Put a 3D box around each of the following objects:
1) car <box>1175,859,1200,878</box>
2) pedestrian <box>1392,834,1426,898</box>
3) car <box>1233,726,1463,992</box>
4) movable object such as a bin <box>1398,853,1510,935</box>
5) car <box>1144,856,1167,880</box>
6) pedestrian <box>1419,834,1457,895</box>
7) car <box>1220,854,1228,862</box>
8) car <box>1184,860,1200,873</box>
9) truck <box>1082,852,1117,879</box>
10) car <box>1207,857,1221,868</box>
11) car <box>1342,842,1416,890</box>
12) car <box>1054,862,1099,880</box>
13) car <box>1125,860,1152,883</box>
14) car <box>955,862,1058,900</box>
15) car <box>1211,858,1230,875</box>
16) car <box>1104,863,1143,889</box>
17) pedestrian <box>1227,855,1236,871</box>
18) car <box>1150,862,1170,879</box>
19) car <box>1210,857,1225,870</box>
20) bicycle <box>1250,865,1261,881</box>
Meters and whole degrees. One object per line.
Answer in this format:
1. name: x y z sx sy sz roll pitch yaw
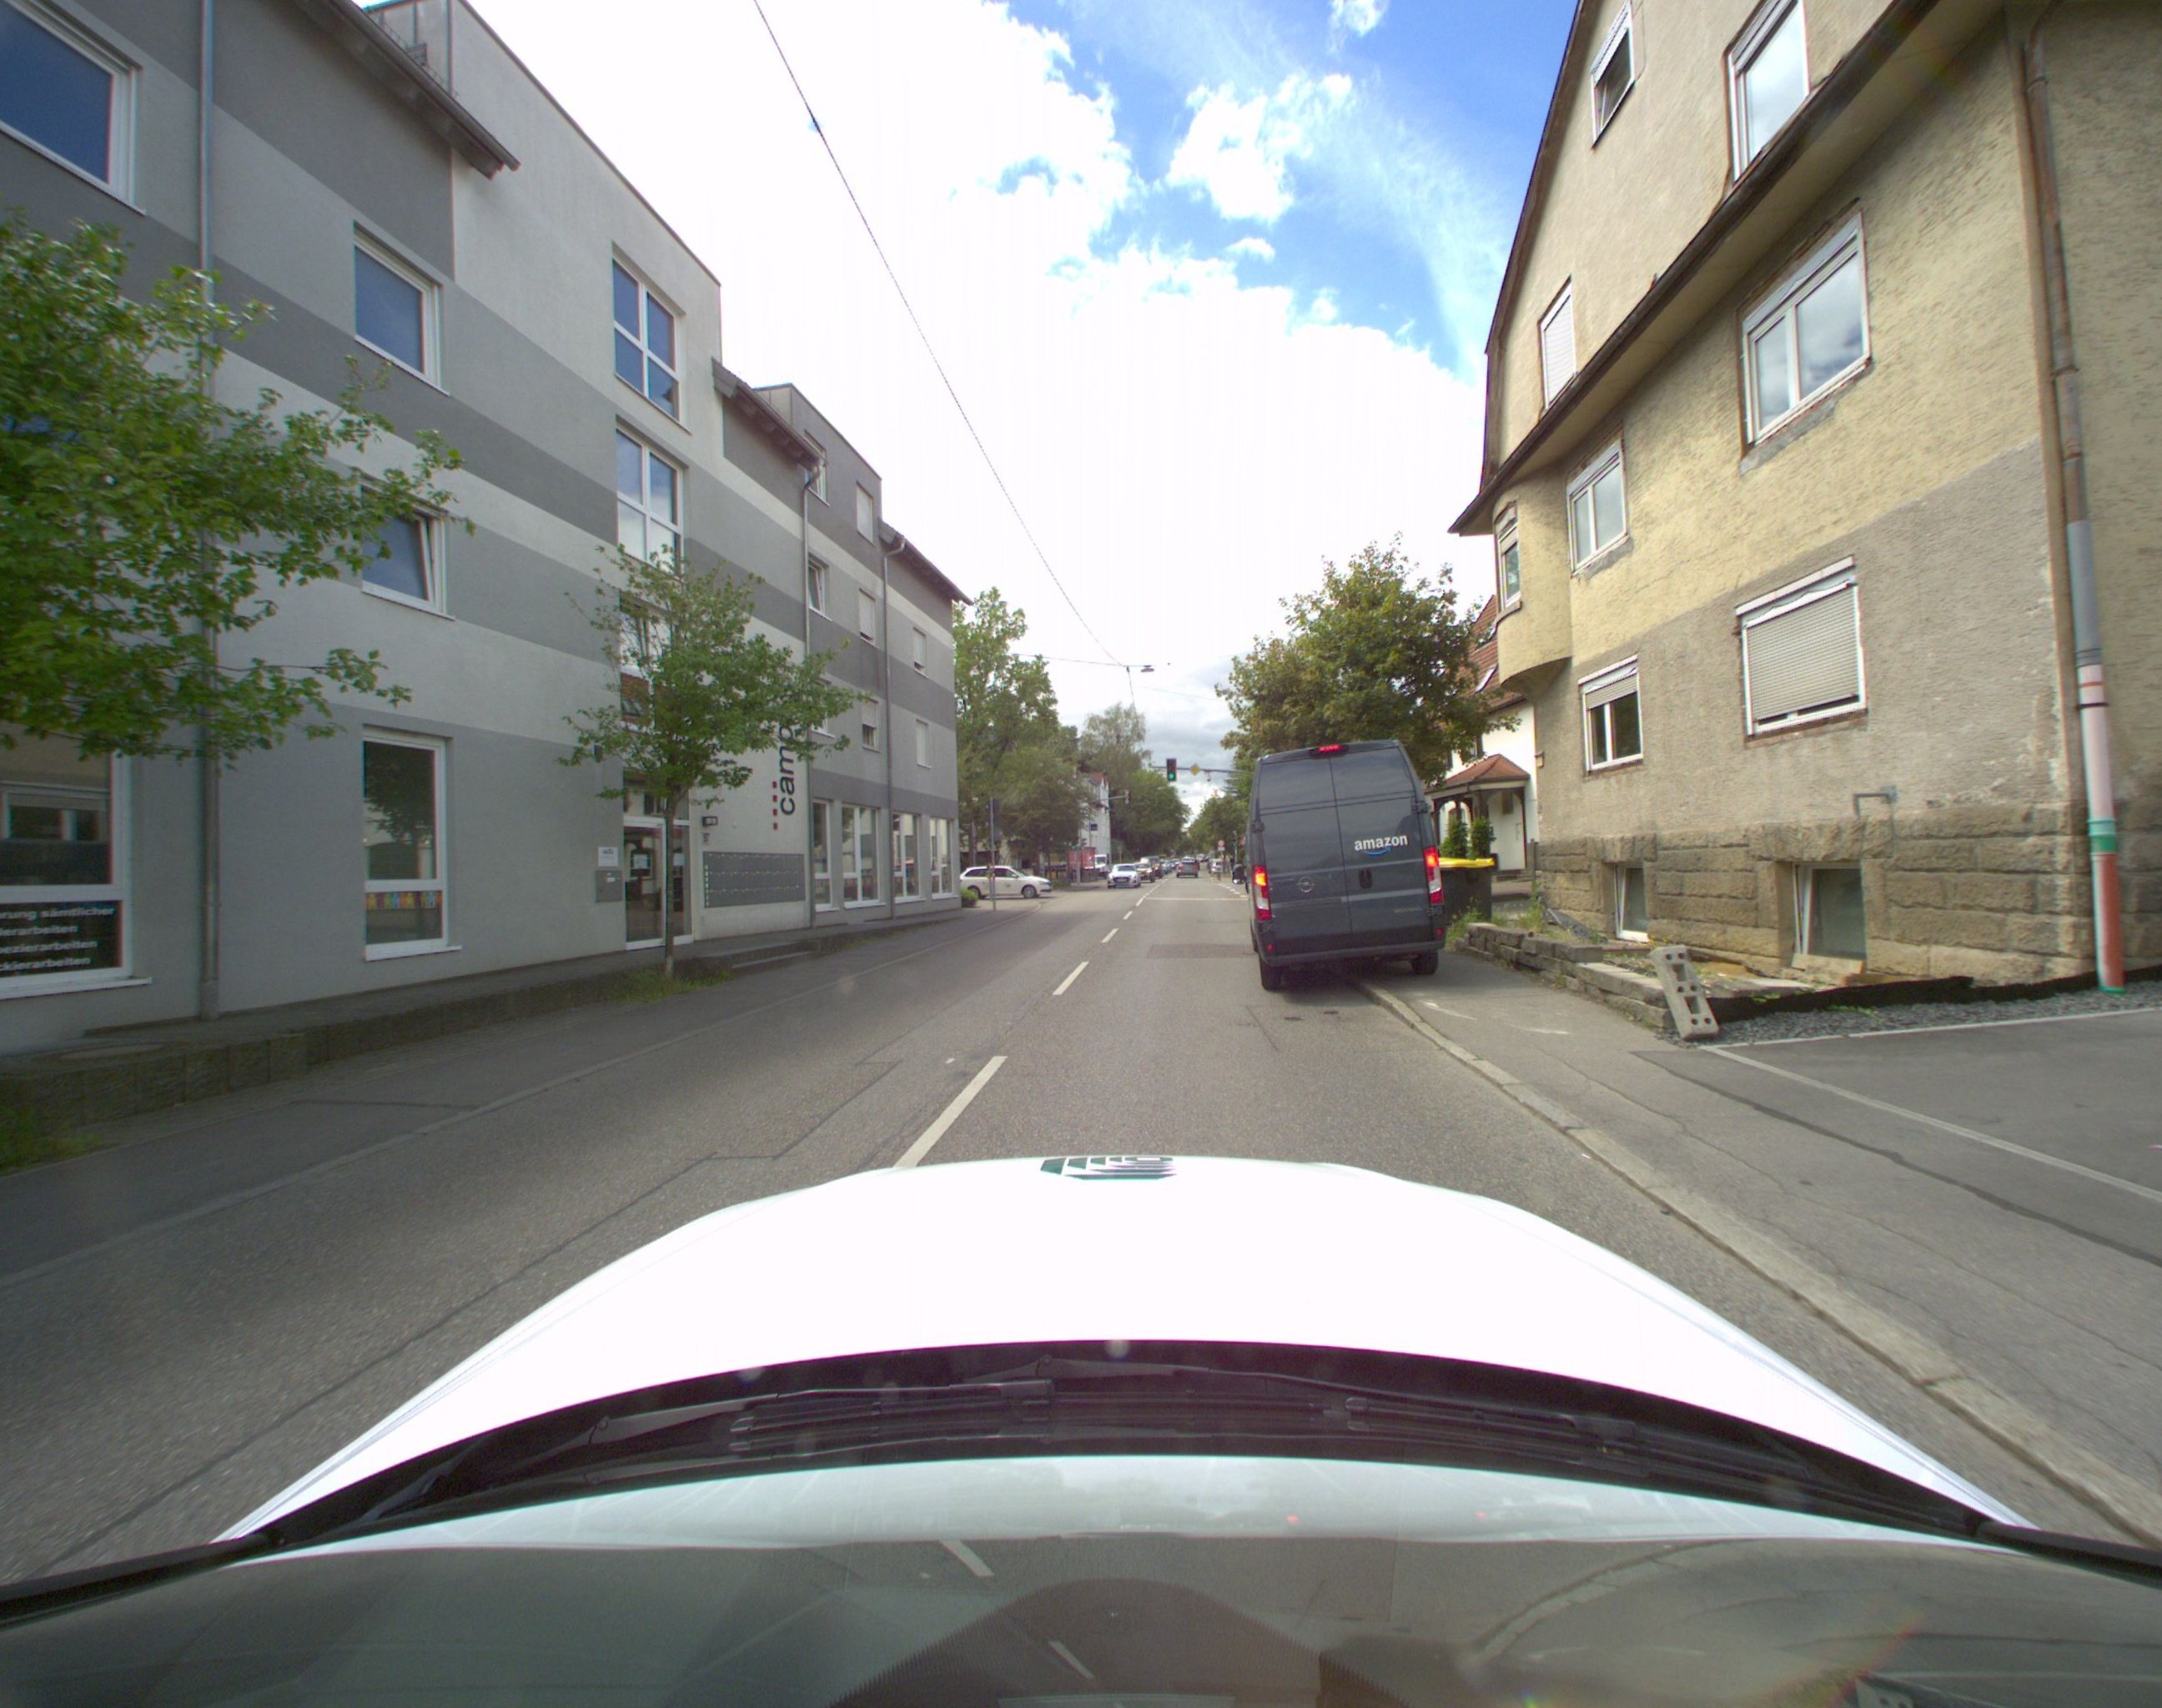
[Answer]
1. car: 9.374 1.233 71.331 1.964 1.513 4.278 1 0 9
2. pedestrian: 9.450 0.345 23.487 0.735 1.782 0.903 -2 -1 13
3. car: 3.410 0.087 11.807 2.135 2.770 6.265 -2 -1 9
4. movable object such as a bin: 6.275 0.652 13.763 1.187 1.266 1.200 -2 -1 -24
5. car: 6.480 1.200 70.657 1.867 1.913 4.760 -2 0 7
6. pedestrian: 9.837 0.285 22.450 0.779 1.643 0.801 -2 -1 13
7. car: 37.799 1.103 215.280 1.981 2.014 4.011 -2 -1 10
8. car: 14.391 1.586 105.450 1.805 1.501 4.278 -1 0 10
9. truck: 1.837 1.084 76.889 2.210 2.380 6.344 -2 -1 11
10. car: 19.053 1.177 116.736 1.791 1.445 4.897 0 0 7
11. car: 11.605 0.428 31.514 1.734 1.517 4.105 -7 -1 32
12. car: -0.359 1.456 69.788 3.675 1.425 1.807 -2 -1 4
13. car: 4.222 1.240 59.249 1.719 1.538 4.008 -2 0 7
14. car: -3.251 1.168 35.983 4.188 1.513 1.826 -2 0 7
15. car: 13.393 1.185 78.237 1.691 1.480 4.884 -1 0 9
16. car: 2.569 1.275 48.274 1.864 1.424 4.124 -2 -1 8
17. pedestrian: 17.039 1.040 92.247 0.875 1.712 0.845 -2 -1 9
18. car: 8.416 1.697 86.078 1.796 1.571 4.169 -4 -1 8
19. car: 16.382 1.150 97.927 1.612 1.507 3.788 -2 0 8
20. bicycle: 13.455 1.438 62.650 0.715 1.150 2.221 -2 -1 14
